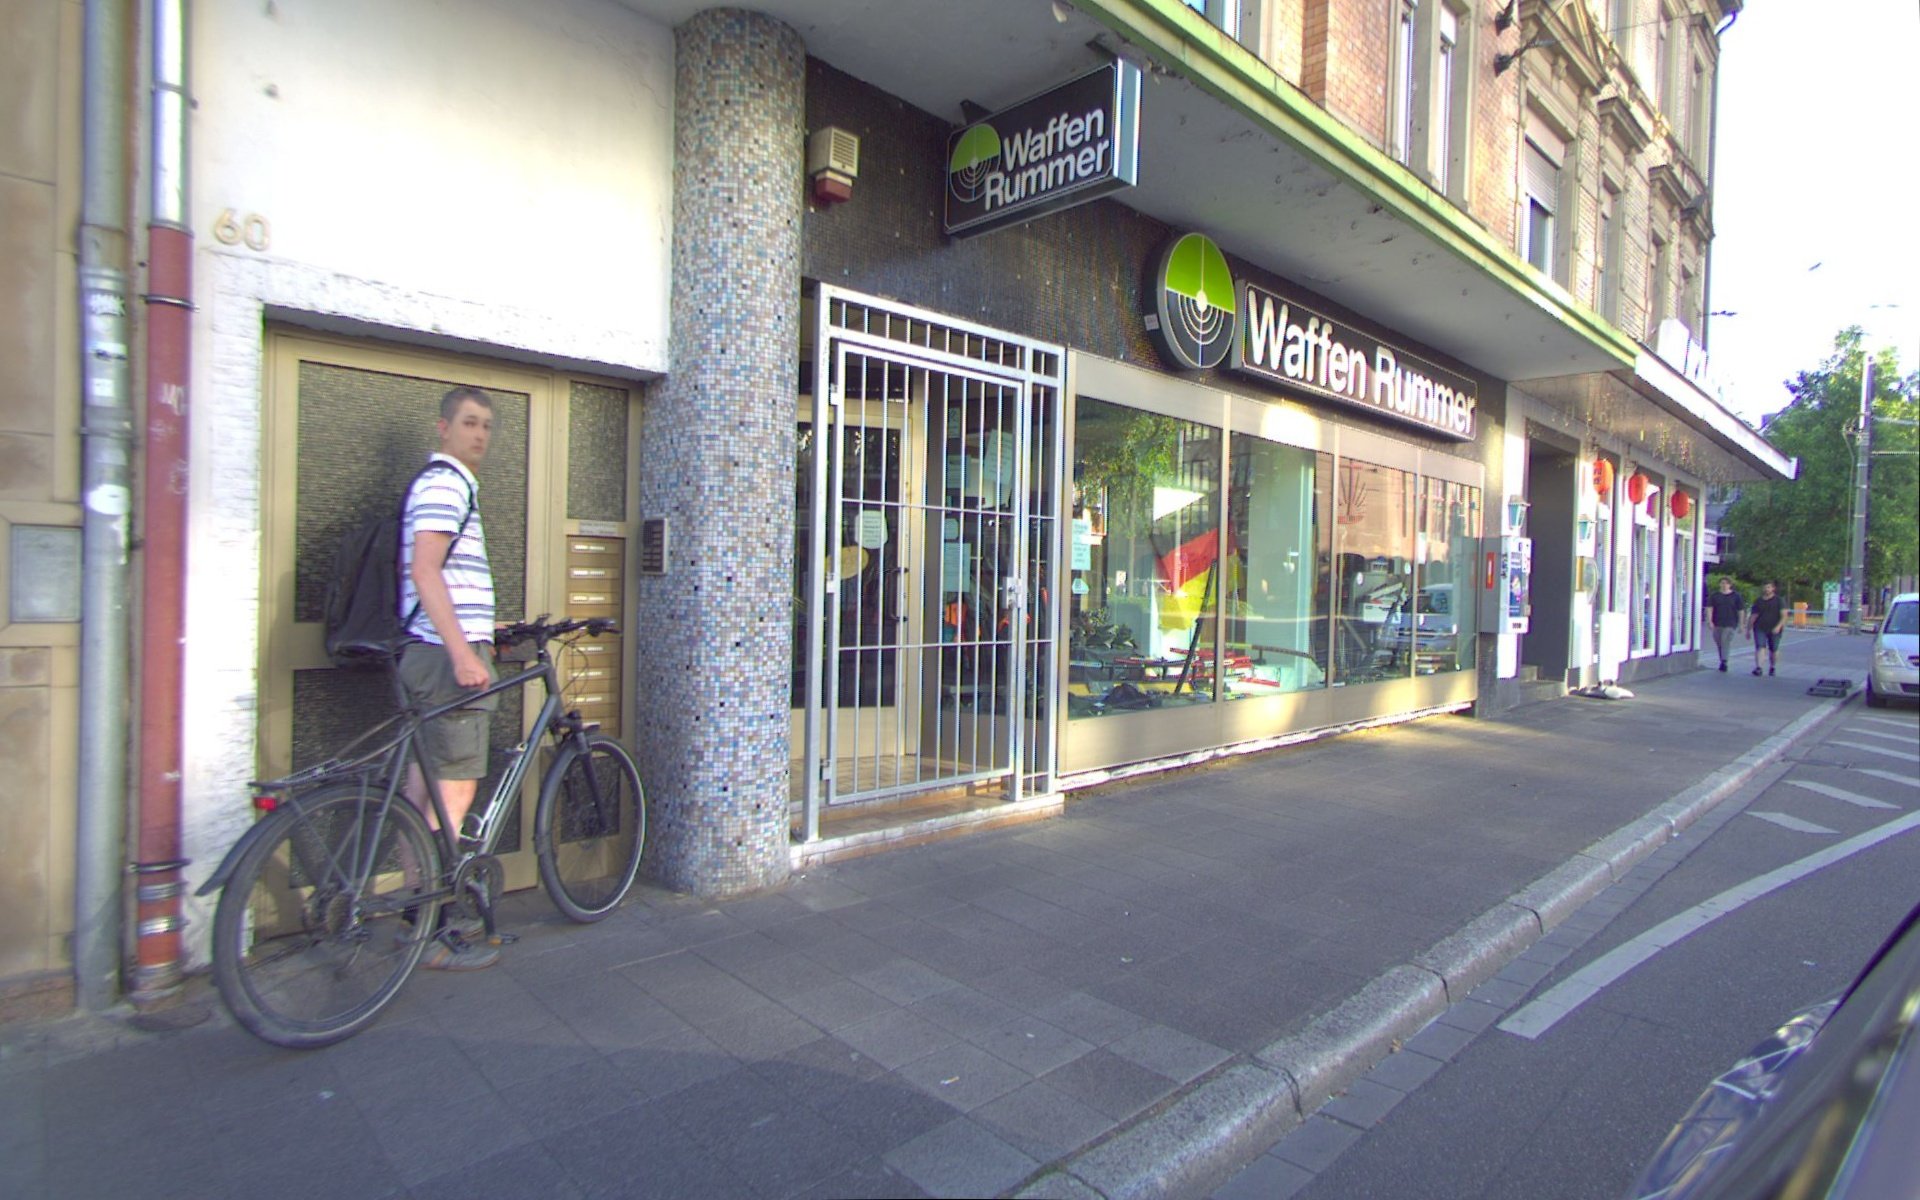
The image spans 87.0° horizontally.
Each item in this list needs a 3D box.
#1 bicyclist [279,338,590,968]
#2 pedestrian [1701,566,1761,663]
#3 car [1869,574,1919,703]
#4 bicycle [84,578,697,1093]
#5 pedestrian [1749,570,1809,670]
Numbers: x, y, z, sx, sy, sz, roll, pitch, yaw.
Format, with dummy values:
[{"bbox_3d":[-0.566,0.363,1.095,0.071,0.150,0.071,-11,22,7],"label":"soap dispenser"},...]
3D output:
[{"bbox_3d":[-1.791,0.149,3.513,0.592,1.905,0.739,2,1,20],"label":"bicyclist"},{"bbox_3d":[14.440,0.263,18.964,0.669,1.744,0.700,0,3,-42],"label":"pedestrian"},{"bbox_3d":[14.351,0.517,14.355,3.930,1.705,1.670,0,1,-41],"label":"car"},{"bbox_3d":[-1.754,0.569,3.522,0.660,1.269,1.883,2,1,20],"label":"bicycle"},{"bbox_3d":[14.829,0.341,18.327,0.494,1.744,0.700,0,3,-42],"label":"pedestrian"}]
